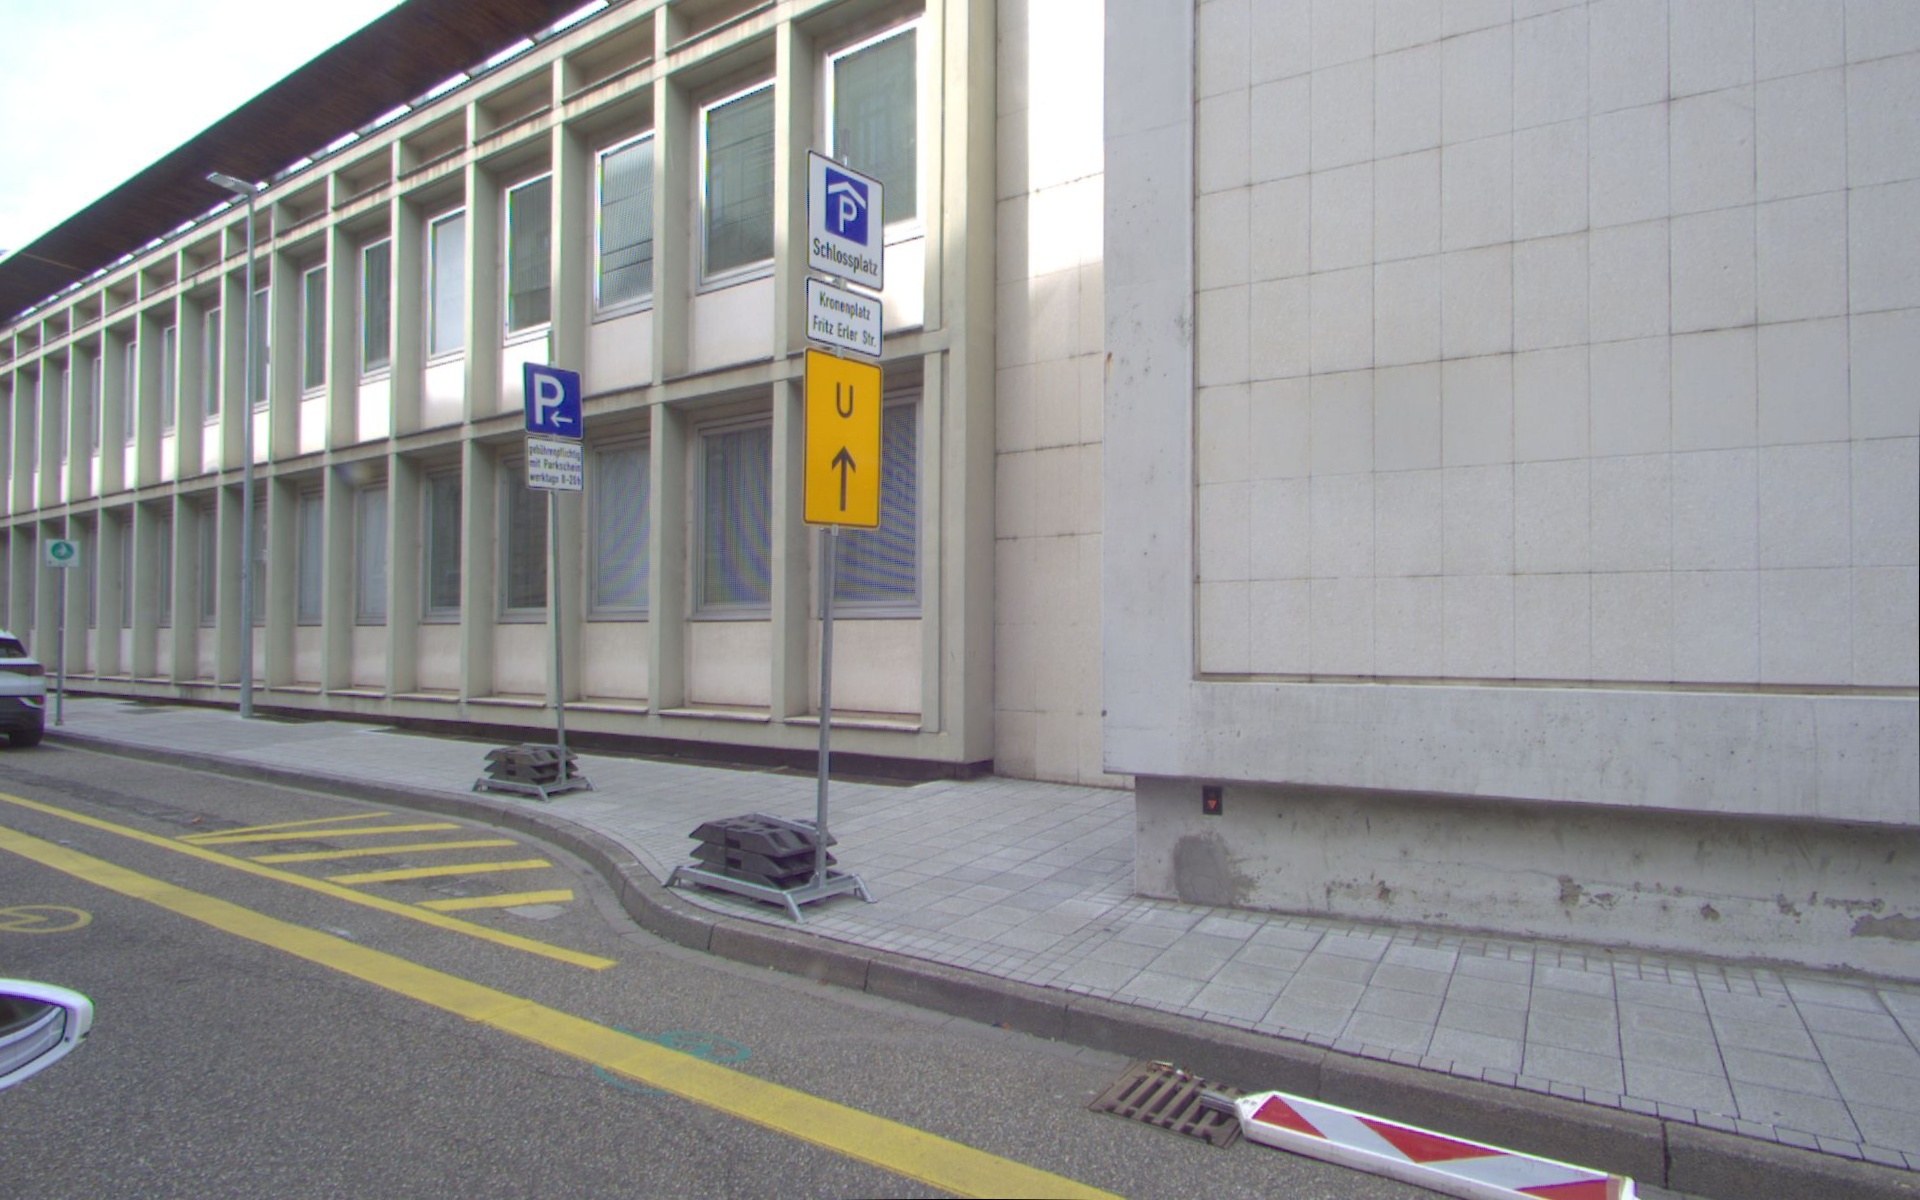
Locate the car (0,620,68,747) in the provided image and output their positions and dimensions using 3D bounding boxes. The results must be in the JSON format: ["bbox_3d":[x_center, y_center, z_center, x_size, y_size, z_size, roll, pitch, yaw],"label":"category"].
[{"bbox_3d":[-14.369,1.099,13.955,4.452,1.624,1.857,-1,-5,35],"label":"car"}]
